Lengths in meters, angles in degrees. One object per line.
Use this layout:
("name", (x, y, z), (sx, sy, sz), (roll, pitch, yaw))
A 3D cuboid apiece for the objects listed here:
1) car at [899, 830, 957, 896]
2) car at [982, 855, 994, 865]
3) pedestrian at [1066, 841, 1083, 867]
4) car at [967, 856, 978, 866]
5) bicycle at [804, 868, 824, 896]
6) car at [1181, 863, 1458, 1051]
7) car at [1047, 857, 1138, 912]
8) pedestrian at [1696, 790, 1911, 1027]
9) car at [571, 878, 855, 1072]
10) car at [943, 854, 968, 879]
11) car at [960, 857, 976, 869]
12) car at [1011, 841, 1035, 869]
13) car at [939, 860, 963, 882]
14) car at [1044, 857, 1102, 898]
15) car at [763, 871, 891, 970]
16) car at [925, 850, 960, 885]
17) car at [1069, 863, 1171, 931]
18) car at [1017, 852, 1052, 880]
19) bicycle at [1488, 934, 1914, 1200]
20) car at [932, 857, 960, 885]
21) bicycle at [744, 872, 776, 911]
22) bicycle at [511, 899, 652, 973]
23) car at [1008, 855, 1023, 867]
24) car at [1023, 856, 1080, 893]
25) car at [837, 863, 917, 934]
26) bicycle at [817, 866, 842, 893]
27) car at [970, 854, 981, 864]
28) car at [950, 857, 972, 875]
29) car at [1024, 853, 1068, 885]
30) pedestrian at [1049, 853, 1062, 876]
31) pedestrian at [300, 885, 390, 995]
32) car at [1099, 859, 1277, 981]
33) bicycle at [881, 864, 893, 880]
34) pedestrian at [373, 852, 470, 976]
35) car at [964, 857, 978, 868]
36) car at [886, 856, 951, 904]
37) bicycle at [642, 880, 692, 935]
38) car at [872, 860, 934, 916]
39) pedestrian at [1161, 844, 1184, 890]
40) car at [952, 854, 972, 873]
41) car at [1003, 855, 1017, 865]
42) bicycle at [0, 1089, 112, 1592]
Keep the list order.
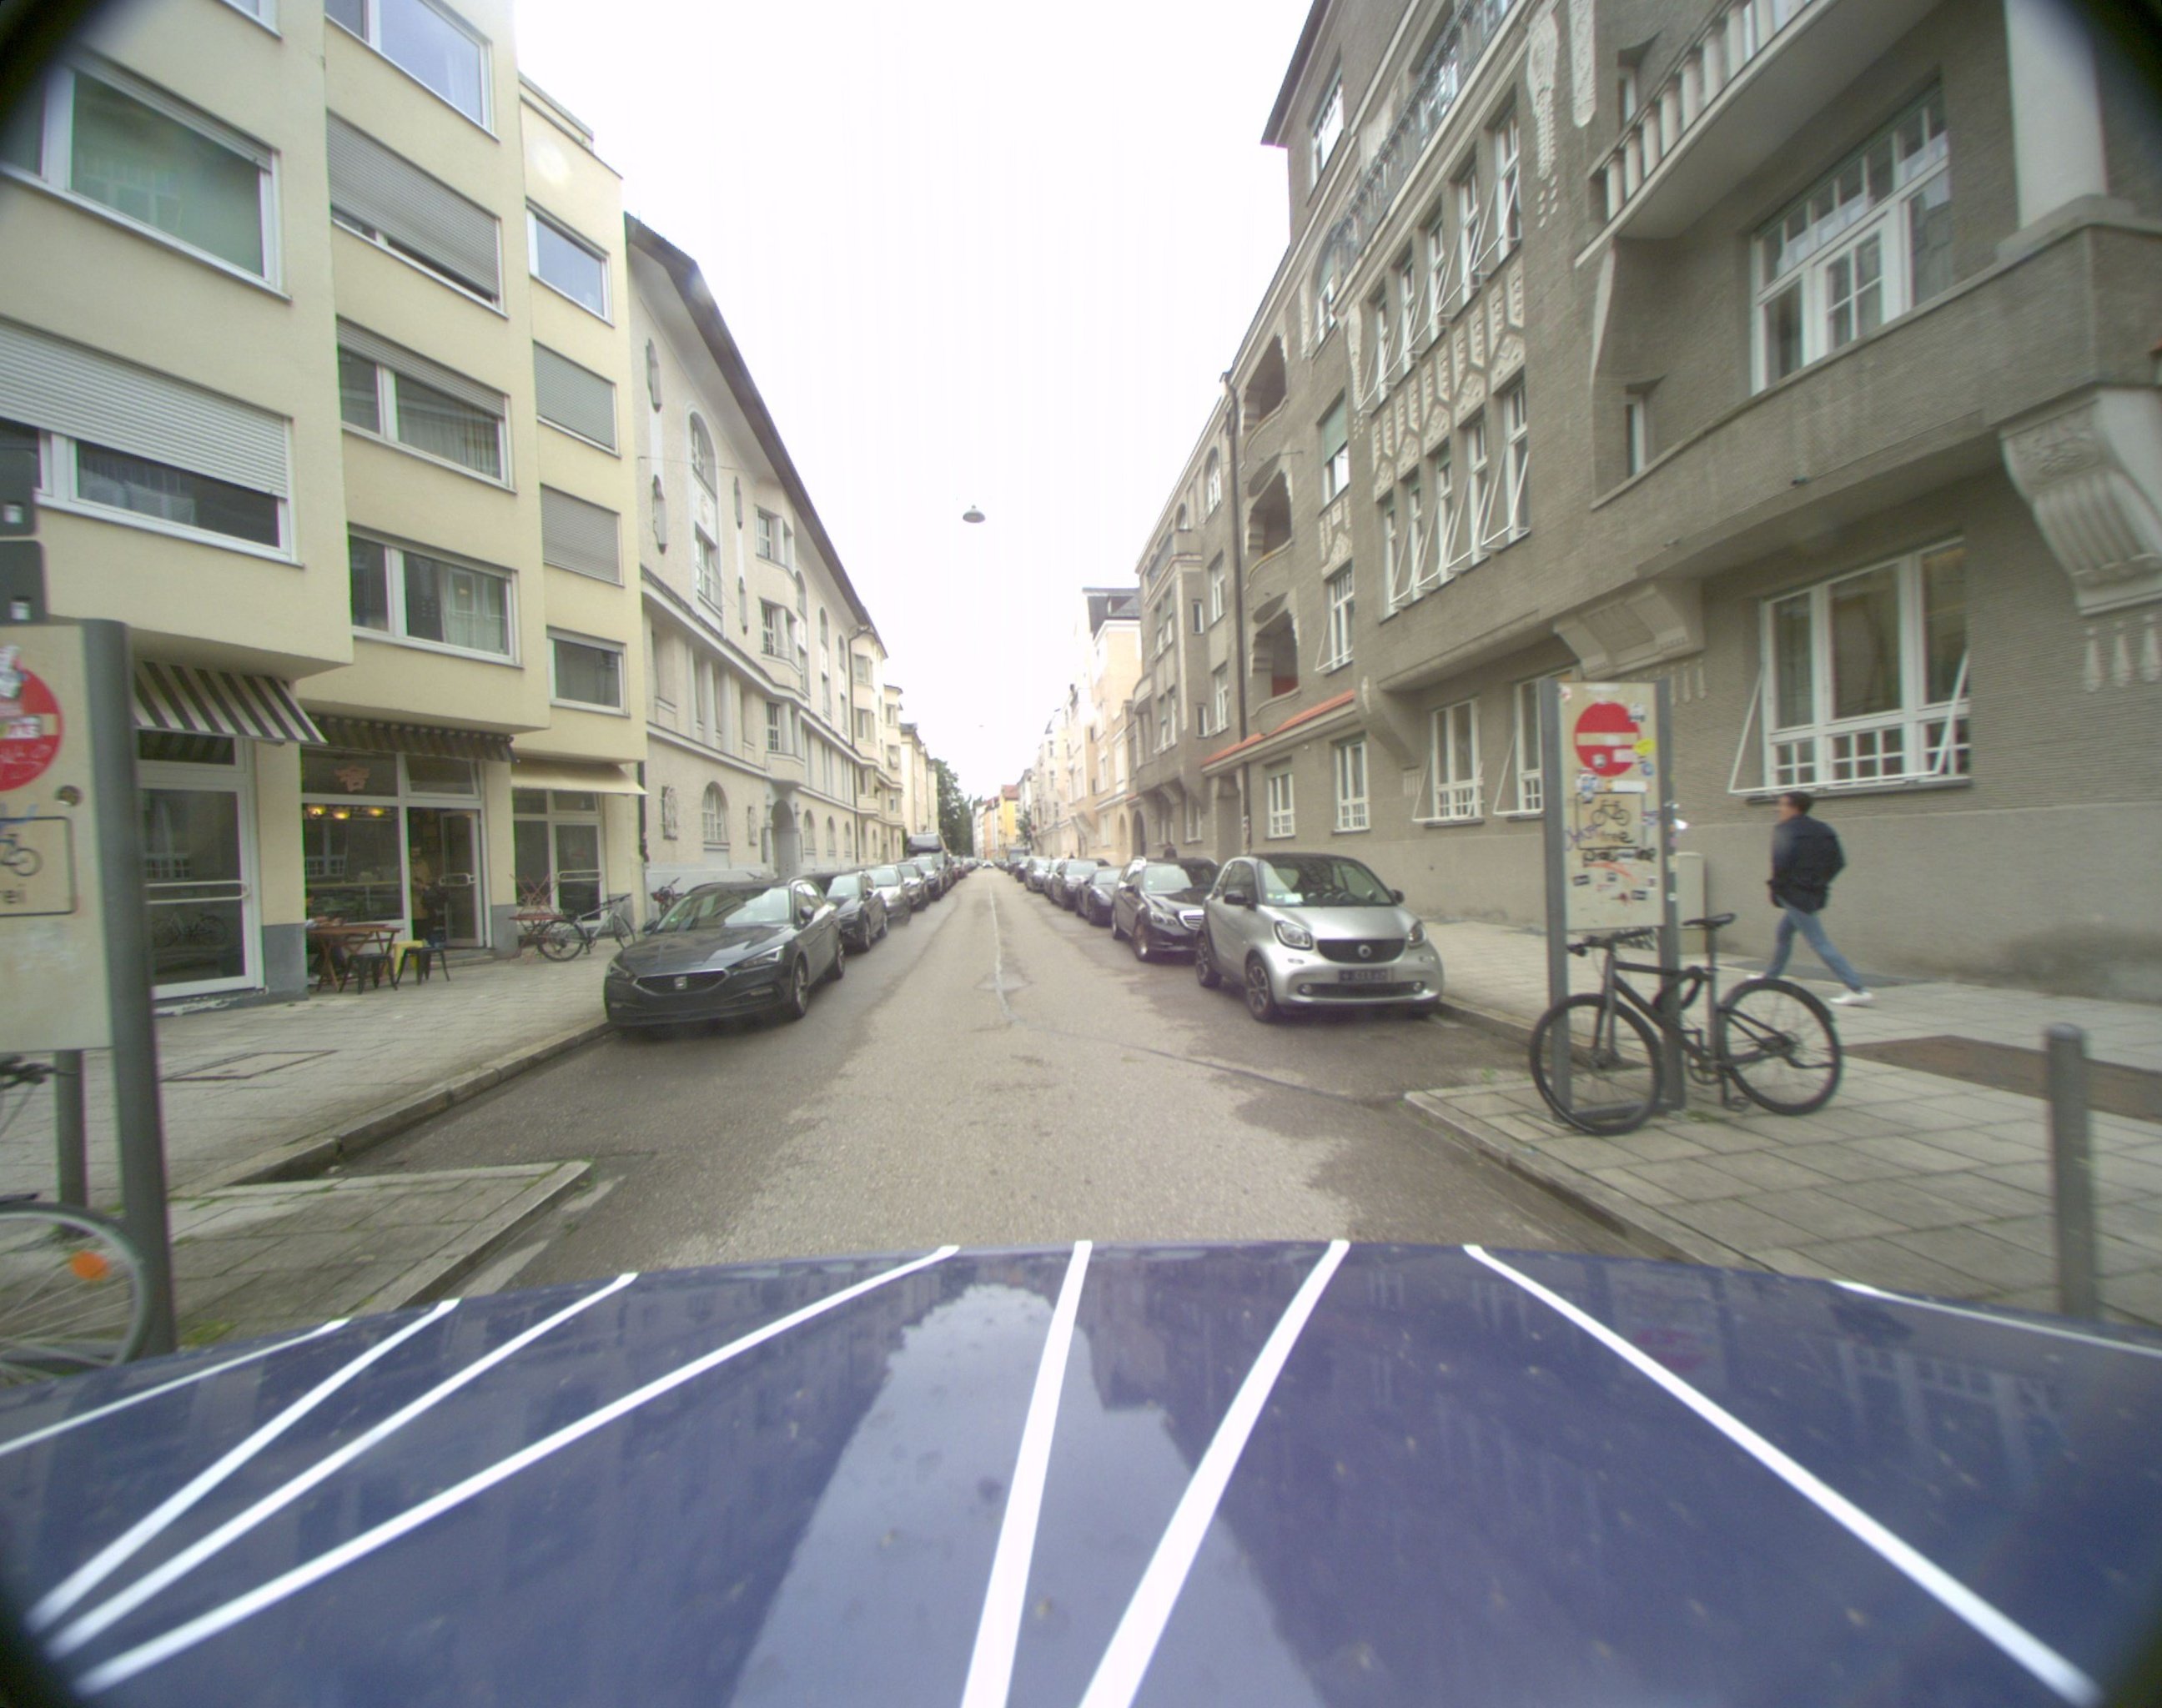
("car", (-7.530, 0.358, 38.020), (2.261, 2.943, 6.127), (-3, 1, -7))
("car", (-16.554, 1.065, 135.174), (2.000, 1.788, 3.997), (-3, 1, -8))
("pedestrian", (-0.461, 0.027, 51.729), (0.996, 1.719, 0.939), (-3, 1, -7))
("car", (-17.159, 1.135, 120.369), (1.684, 1.434, 3.642), (-3, 1, -7))
("bicycle", (-11.345, 1.170, 32.336), (0.483, 1.144, 1.786), (0, 0, -9))
("car", (2.220, 0.874, 7.851), (1.709, 1.506, 2.909), (-1, 0, -6))
("car", (0.221, 0.841, 23.320), (2.000, 1.440, 4.775), (-2, 0, -8))
("pedestrian", (5.909, 0.412, 6.275), (0.841, 1.777, 0.935), (-3, 1, -4))
("car", (-3.913, 1.132, 9.024), (1.698, 1.463, 4.607), (-3, 0, -9))
("car", (-10.514, 1.056, 64.080), (1.882, 1.925, 4.659), (-3, 0, -8))
("car", (-13.901, 1.105, 93.667), (1.684, 1.375, 3.642), (-3, 1, -7))
("car", (-5.687, 0.103, 73.449), (2.105, 2.606, 5.674), (-1, 0, -6))
("car", (-9.236, 1.187, 54.107), (1.497, 1.463, 3.501), (-3, 0, -8))
("car", (-0.398, 0.832, 28.826), (1.811, 1.423, 4.437), (-1, 0, -6))
("car", (-4.672, 1.144, 14.490), (1.639, 1.463, 3.852), (-3, 1, -9))
("car", (-8.618, 0.779, 47.532), (1.801, 2.027, 4.068), (-3, 1, -7))
("car", (0.802, 0.931, 18.032), (1.761, 1.323, 4.094), (-2, 0, -6))
("car", (-3.116, 0.730, 49.994), (1.957, 1.649, 4.614), (-3, 0, -7))
("bicycle", (3.061, 0.997, 3.794), (1.808, 1.009, 0.540), (-3, 1, -8))
("car", (-8.359, 1.004, 47.164), (1.547, 1.616, 2.813), (-3, 1, -8))
("bicycle", (-10.459, 1.201, 24.790), (0.483, 1.144, 1.786), (-3, 1, -9))
("bicycle", (-8.221, 1.307, 12.603), (0.751, 1.026, 1.803), (0, 0, 28))
("car", (-7.974, 0.875, 92.762), (1.684, 1.390, 3.703), (-3, 1, -7))
("car", (-1.399, 0.854, 34.148), (1.843, 1.504, 4.603), (-2, 0, -11))
("car", (-5.186, 1.062, 19.702), (1.639, 1.528, 3.851), (-3, 1, -11))
("bicycle", (-11.592, 1.145, 35.043), (0.482, 1.144, 1.788), (-2, 1, 2))
("car", (-18.645, 0.886, 134.116), (1.684, 1.671, 3.642), (-3, 1, -7))
("car", (-10.932, 1.053, 69.385), (1.732, 1.458, 3.735), (-3, 1, -7))
("car", (-1.910, 0.752, 40.419), (1.809, 1.563, 3.810), (-3, 1, -10))
("pedestrian", (-1.960, 0.791, 58.866), (0.838, 1.779, 0.740), (-3, 1, -7))
("pedestrian", (-9.963, 1.140, 10.302), (0.531, 1.390, 0.674), (-2, 1, 26))
("car", (1.483, 0.888, 12.444), (1.761, 1.506, 4.705), (-2, 0, -6))
("bicycle", (-14.026, 1.316, 55.000), (0.494, 1.111, 1.966), (-3, 1, -7))
("pedestrian", (-10.252, 0.904, 11.826), (1.014, 1.836, 0.743), (0, -1, 25))
("car", (-14.182, 1.084, 98.190), (1.684, 1.375, 3.642), (-3, 1, -7))
("car", (-6.488, 0.963, 30.798), (1.999, 1.679, 4.671), (-3, 0, -6))
("bicycle", (-9.694, 1.224, 17.831), (0.565, 1.186, 1.675), (0, 0, -12))
("car", (-5.752, 1.047, 24.962), (1.639, 1.583, 3.965), (-3, 1, -9))
("pedestrian", (3.704, 0.504, 30.764), (0.719, 1.806, 0.730), (-3, 1, -8))
("car", (-11.499, 0.879, 73.427), (1.684, 1.767, 3.454), (-3, 1, -7))
("car", (-10.136, 0.853, 108.503), (1.684, 1.390, 3.702), (-3, 1, -8))
("bicycle", (-3.451, 1.213, 1.950), (1.793, 1.079, 0.667), (-1, -1, 20))
